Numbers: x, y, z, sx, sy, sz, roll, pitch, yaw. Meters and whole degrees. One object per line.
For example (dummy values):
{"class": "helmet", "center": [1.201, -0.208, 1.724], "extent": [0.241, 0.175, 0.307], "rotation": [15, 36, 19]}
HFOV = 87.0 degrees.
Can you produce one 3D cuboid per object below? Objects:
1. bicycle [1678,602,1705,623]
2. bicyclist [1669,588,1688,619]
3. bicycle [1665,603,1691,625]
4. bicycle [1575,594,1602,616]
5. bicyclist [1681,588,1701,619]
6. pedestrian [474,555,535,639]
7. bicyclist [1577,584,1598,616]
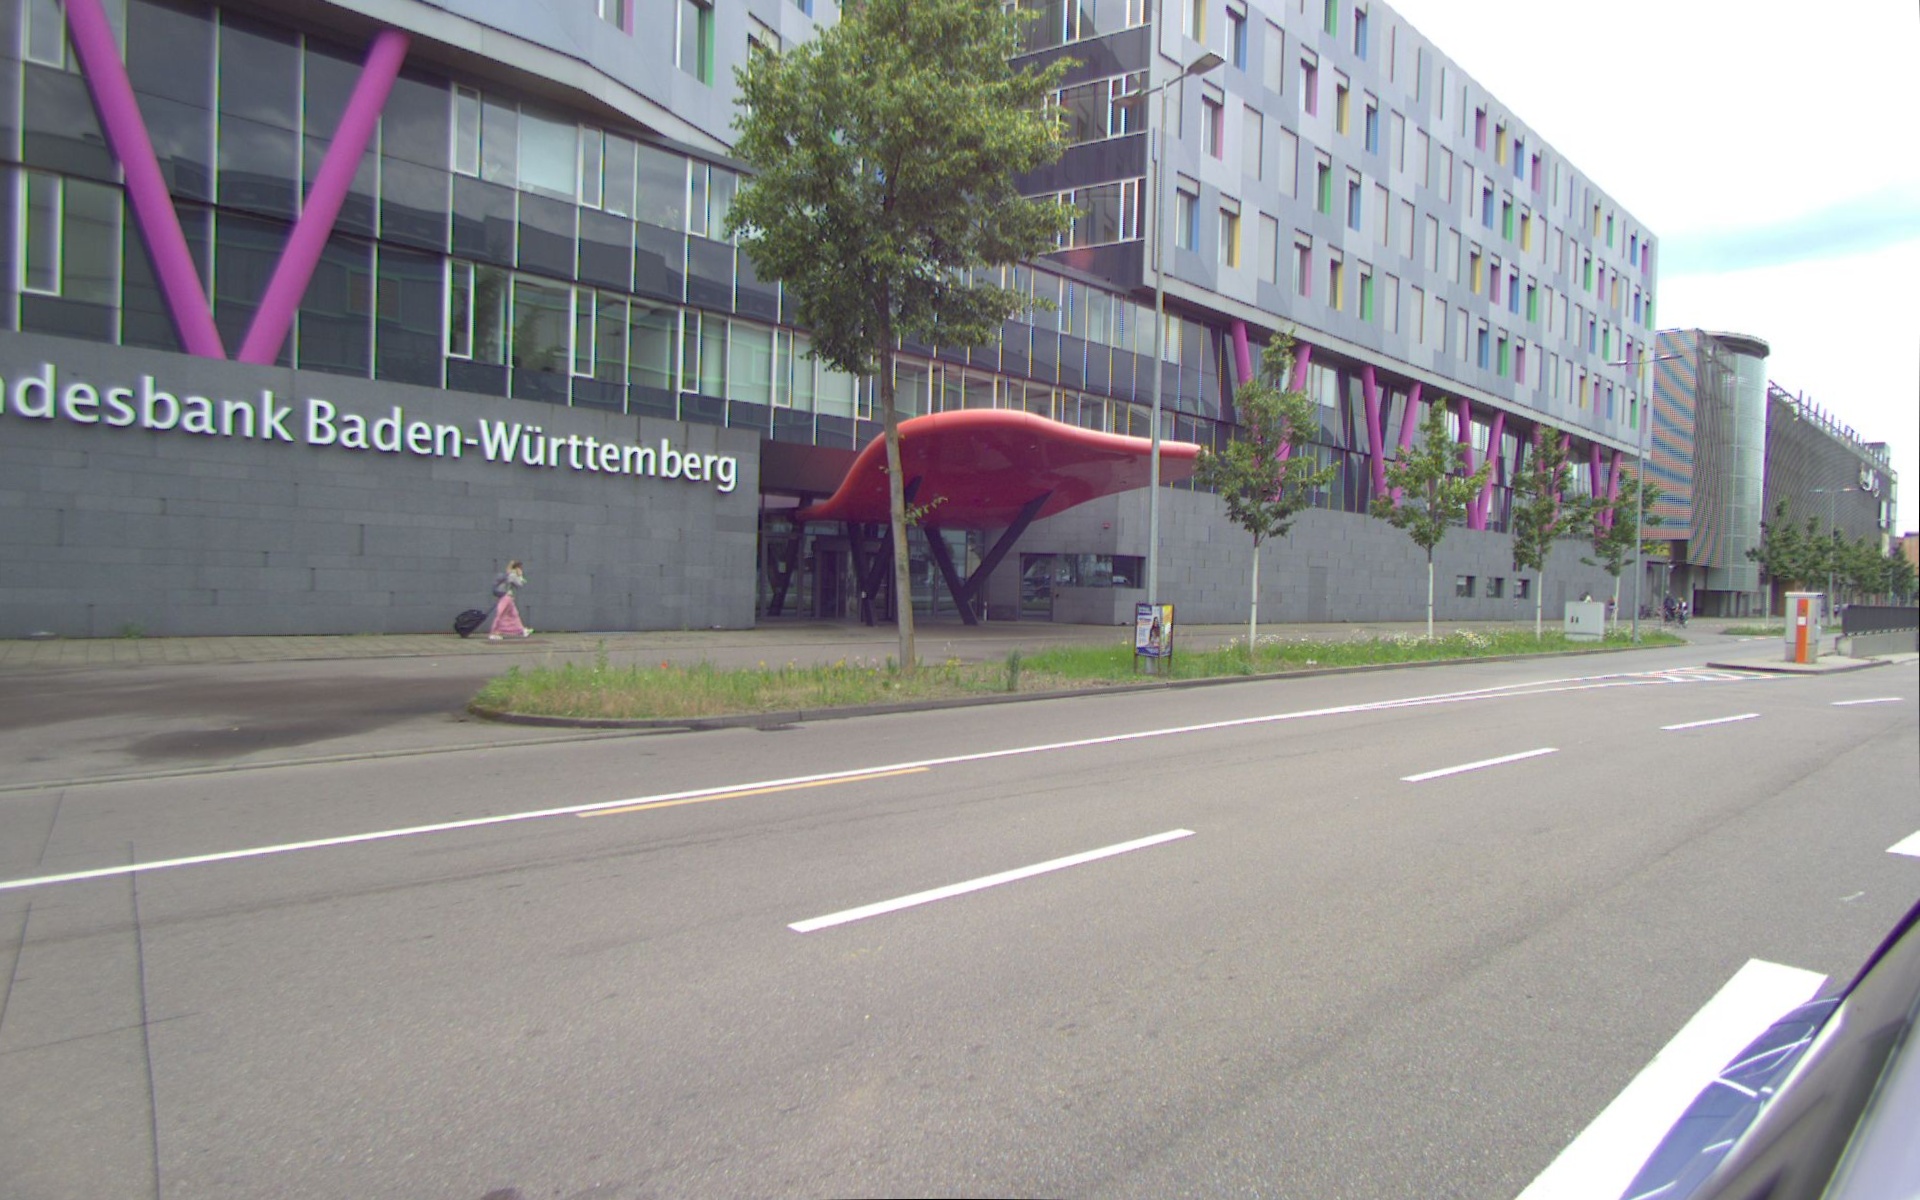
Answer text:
{"class": "bicycle", "center": [43.086, 0.729, 59.612], "extent": [2.304, 1.173, 0.800], "rotation": [1, 0, -42]}
{"class": "bicyclist", "center": [44.585, 0.221, 62.775], "extent": [0.692, 1.826, 0.783], "rotation": [6, -3, -41]}
{"class": "bicycle", "center": [44.427, 0.863, 62.638], "extent": [2.303, 1.173, 0.800], "rotation": [6, -3, -42]}
{"class": "bicycle", "center": [36.406, 0.303, 58.642], "extent": [2.184, 1.209, 0.783], "rotation": [1, 1, -44]}
{"class": "bicyclist", "center": [43.006, 0.214, 59.541], "extent": [0.692, 1.825, 0.783], "rotation": [2, -1, -41]}
{"class": "pedestrian", "center": [-9.012, -0.064, 20.036], "extent": [0.898, 1.602, 0.786], "rotation": [1, 1, -40]}
{"class": "bicyclist", "center": [36.304, -0.015, 58.537], "extent": [0.771, 1.809, 0.958], "rotation": [2, 1, 44]}
